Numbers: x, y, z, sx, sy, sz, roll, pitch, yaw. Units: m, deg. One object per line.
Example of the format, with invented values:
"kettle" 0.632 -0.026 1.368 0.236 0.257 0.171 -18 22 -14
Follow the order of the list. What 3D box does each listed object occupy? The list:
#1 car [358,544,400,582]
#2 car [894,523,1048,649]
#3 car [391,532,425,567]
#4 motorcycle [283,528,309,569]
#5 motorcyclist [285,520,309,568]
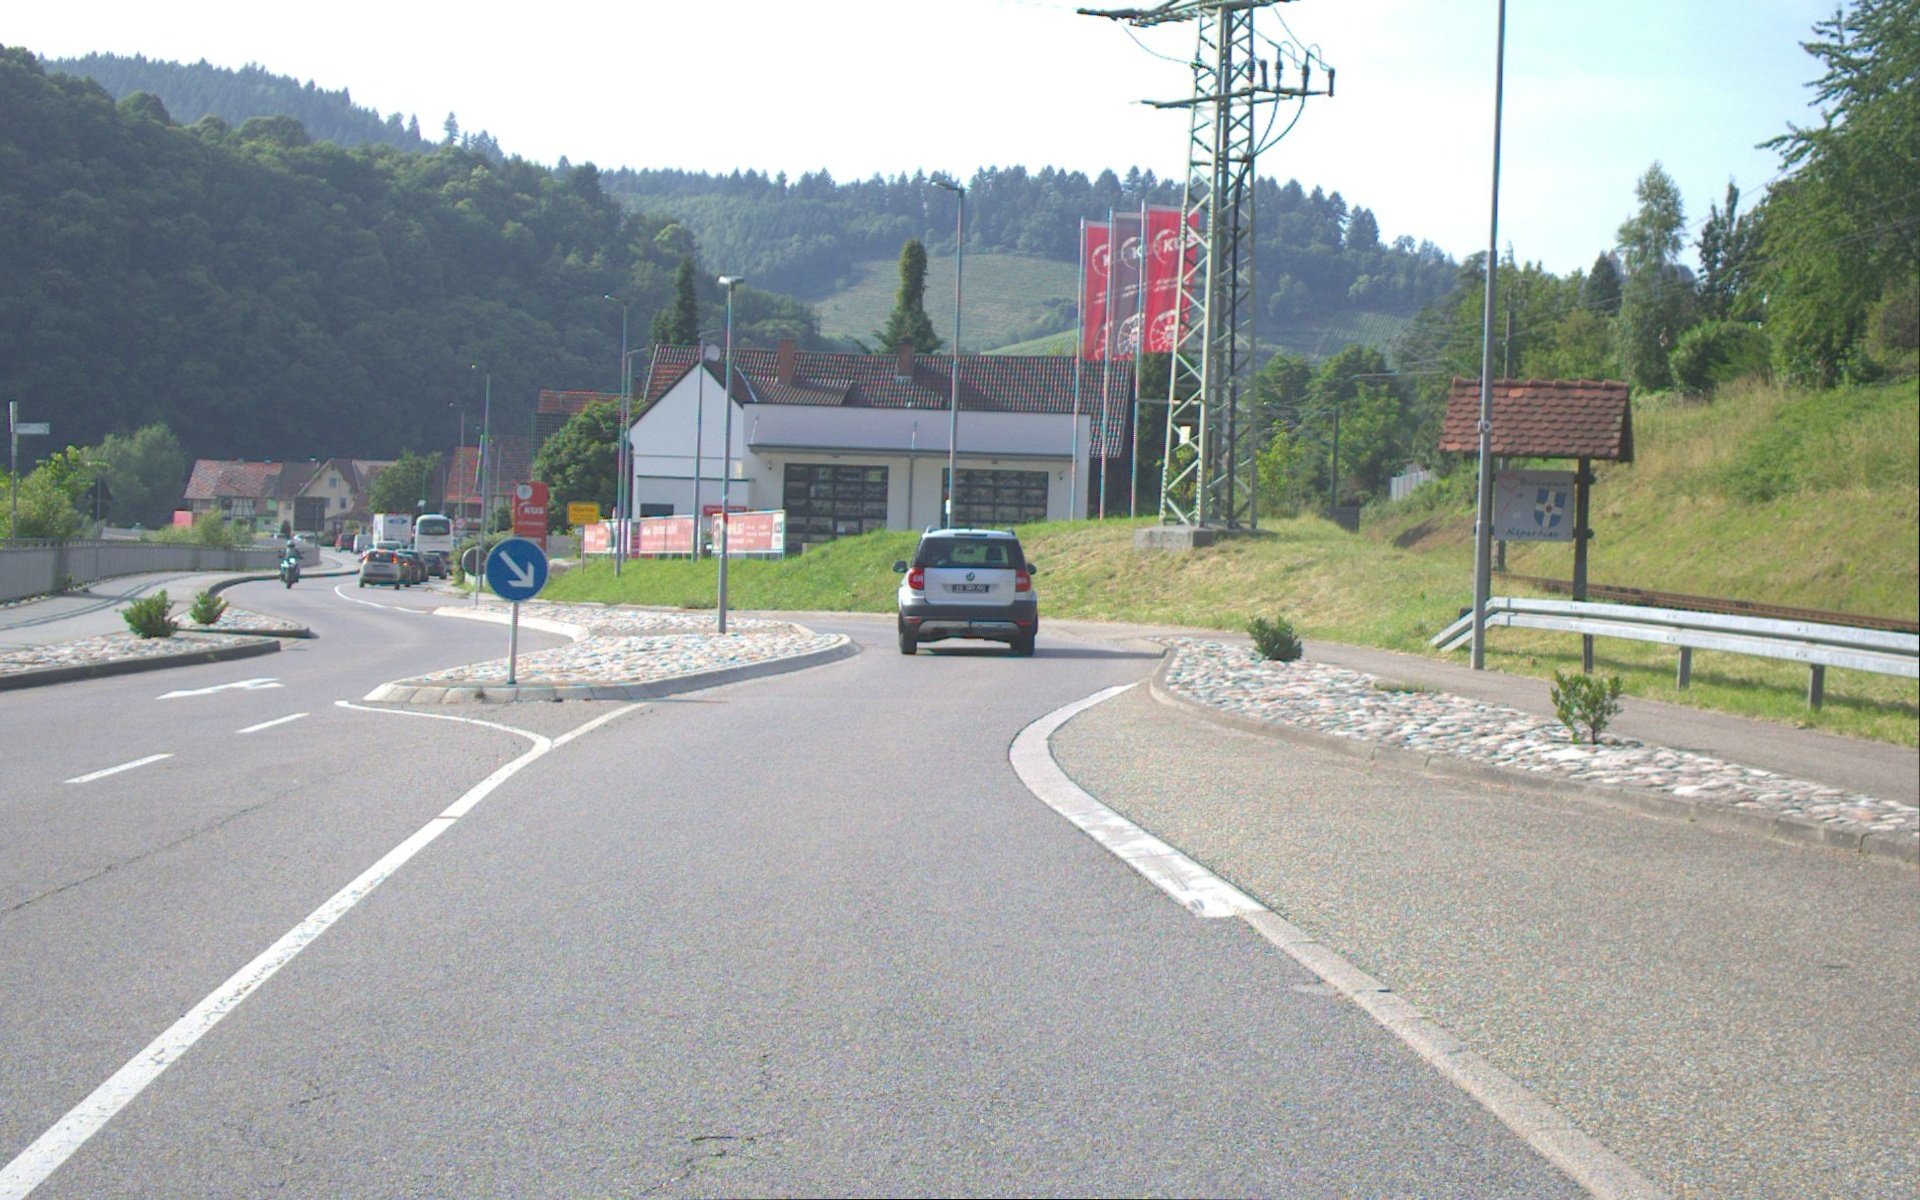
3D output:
"car" -23.712 -1.513 140.322 1.453 1.430 2.936 2 2 -6
"car" 0.099 -0.190 45.997 1.861 1.539 4.373 2 0 -2
"car" -24.332 -2.219 151.536 1.356 1.430 2.839 2 2 -7
"motorcycle" -23.296 -1.824 120.643 0.772 1.417 2.319 1 1 -8
"motorcyclist" -23.246 -1.956 120.508 0.763 1.672 0.727 1 0 -7
